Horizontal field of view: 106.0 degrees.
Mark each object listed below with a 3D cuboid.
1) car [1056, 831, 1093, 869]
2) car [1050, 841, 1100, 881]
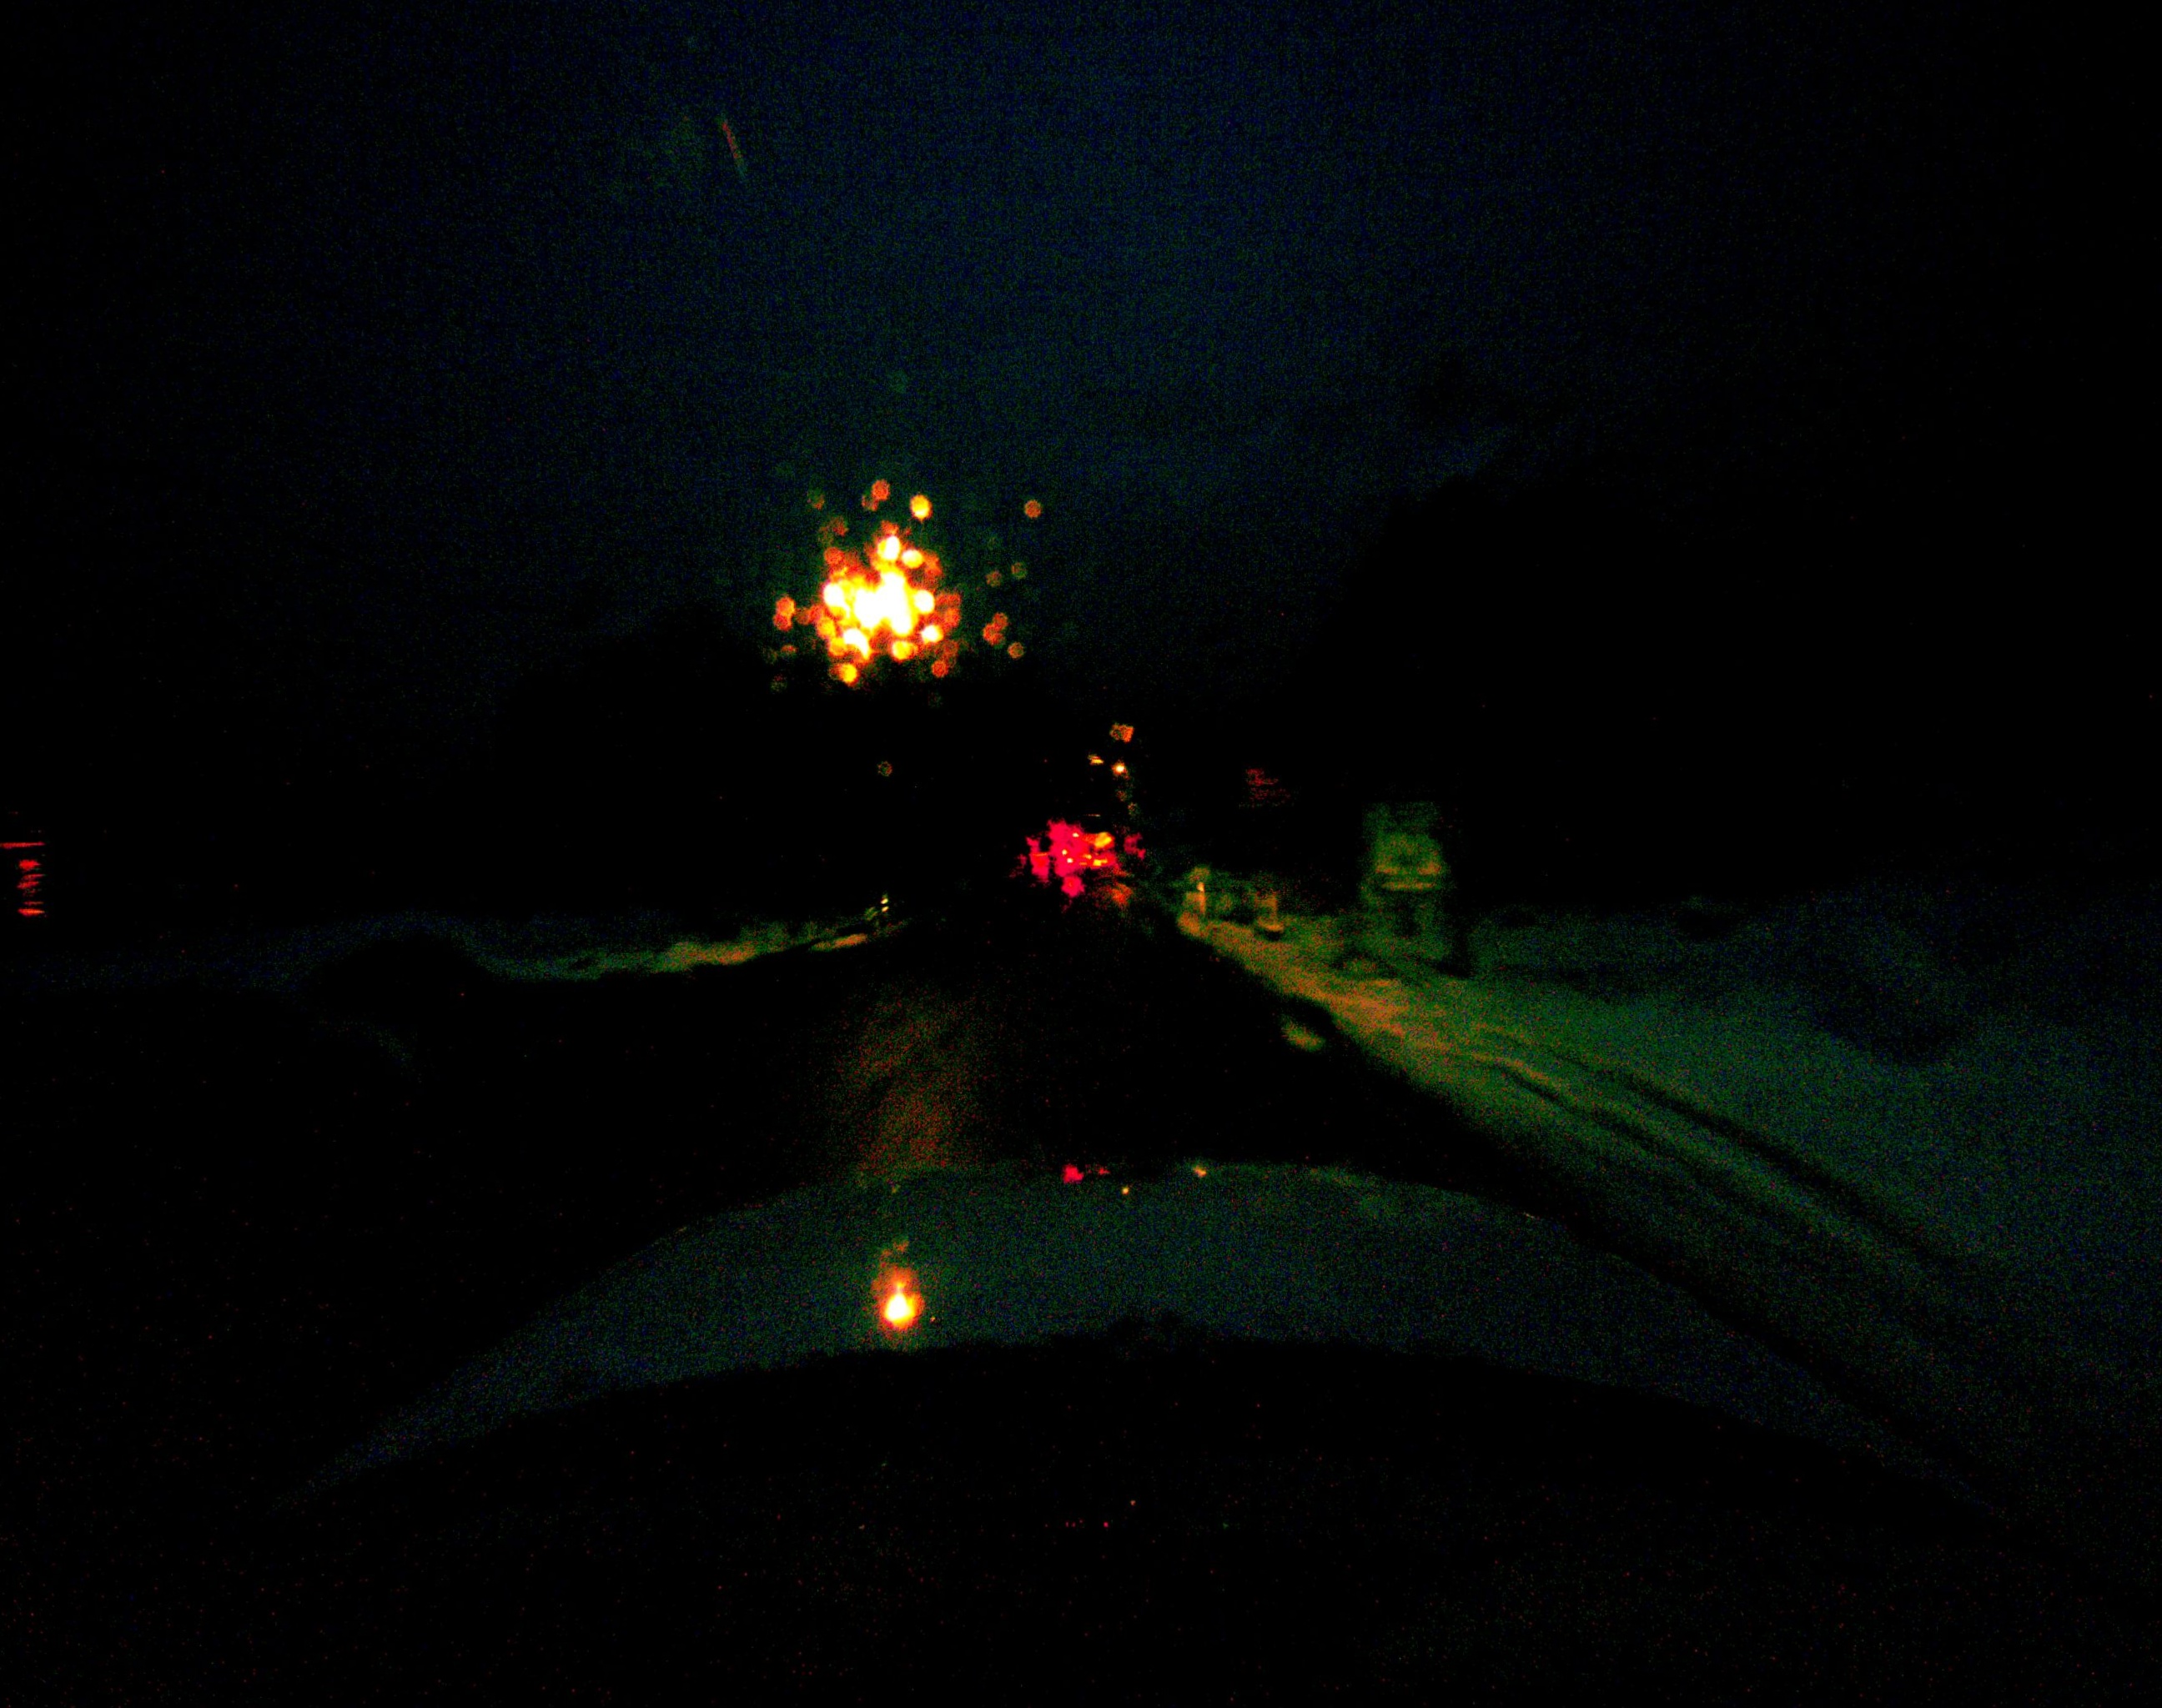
[{"bbox_3d":[-0.493,-0.301,69.080,2.423,3.019,5.333,-2,-1,6],"label":"car"},{"bbox_3d":[-0.256,0.302,40.707,2.267,1.840,5.006,-2,1,0],"label":"car"}]
